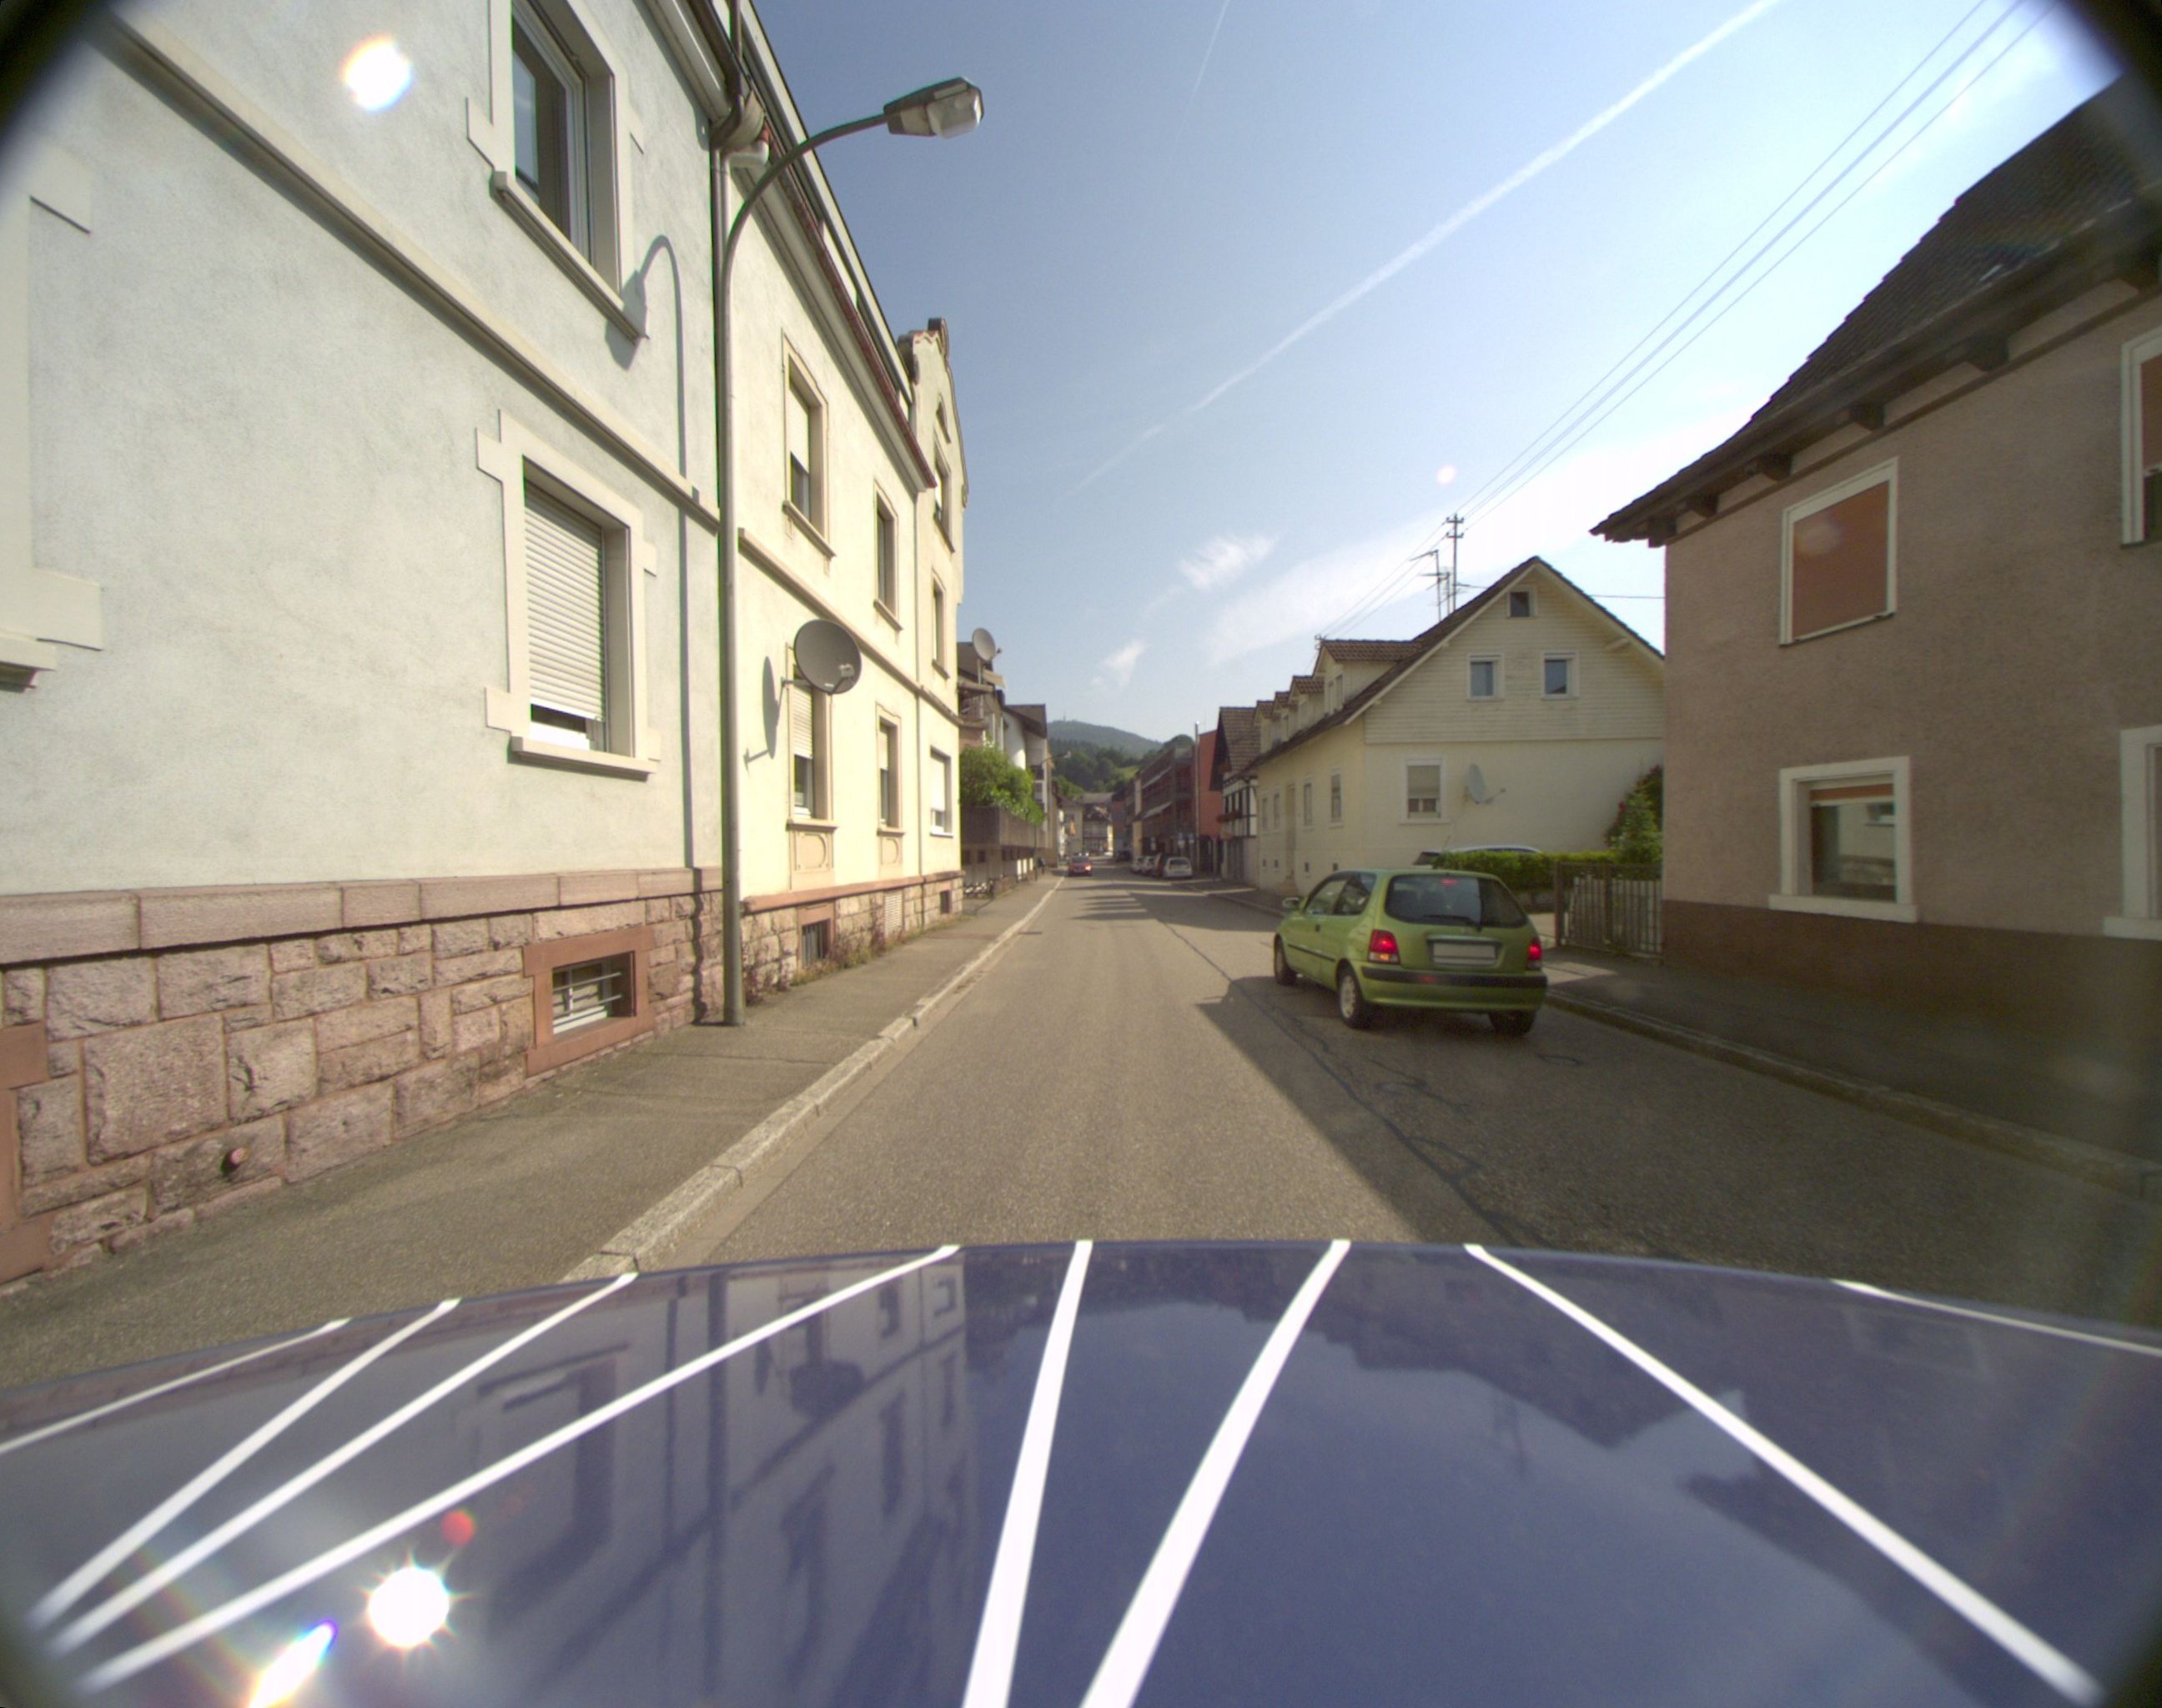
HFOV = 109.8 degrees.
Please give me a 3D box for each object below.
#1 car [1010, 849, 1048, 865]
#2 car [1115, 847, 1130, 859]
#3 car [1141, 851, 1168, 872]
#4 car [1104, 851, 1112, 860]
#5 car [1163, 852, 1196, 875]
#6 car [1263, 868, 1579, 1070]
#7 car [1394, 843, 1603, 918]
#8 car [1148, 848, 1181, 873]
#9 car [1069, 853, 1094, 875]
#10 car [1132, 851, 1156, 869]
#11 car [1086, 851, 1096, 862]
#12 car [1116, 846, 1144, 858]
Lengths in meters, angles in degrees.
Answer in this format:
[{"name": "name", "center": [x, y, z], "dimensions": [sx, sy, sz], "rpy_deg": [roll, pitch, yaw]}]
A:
[{"name": "car", "center": [-5.305, 0.340, 77.919], "dimensions": [3.837, 1.470, 1.700], "rpy_deg": [-2, 0, -2]}, {"name": "car", "center": [6.026, -0.171, 109.618], "dimensions": [1.787, 1.566, 3.888], "rpy_deg": [-4, 1, -1]}, {"name": "car", "center": [5.873, 0.582, 61.303], "dimensions": [1.679, 1.580, 3.948], "rpy_deg": [-1, 0, -2]}, {"name": "car", "center": [6.227, 0.317, 176.785], "dimensions": [1.742, 2.002, 3.840], "rpy_deg": [-1, 0, 2]}, {"name": "car", "center": [6.477, 0.636, 50.239], "dimensions": [1.670, 1.423, 3.569], "rpy_deg": [-2, 0, 1]}, {"name": "car", "center": [3.136, 0.945, 7.875], "dimensions": [1.600, 1.456, 3.659], "rpy_deg": [3, 0, 1]}, {"name": "car", "center": [10.008, 0.597, 18.419], "dimensions": [3.998, 1.584, 1.907], "rpy_deg": [-2, 0, -2]}, {"name": "car", "center": [6.072, 0.440, 55.708], "dimensions": [1.725, 1.786, 4.268], "rpy_deg": [-1, 0, -2]}, {"name": "car", "center": [0.036, 0.756, 58.865], "dimensions": [1.822, 1.652, 3.999], "rpy_deg": [-1, 1, -2]}, {"name": "car", "center": [5.587, 0.505, 67.873], "dimensions": [1.678, 1.546, 3.764], "rpy_deg": [-2, 0, -2]}, {"name": "car", "center": [1.905, 0.427, 146.057], "dimensions": [1.998, 2.002, 3.999], "rpy_deg": [-2, 1, 0]}, {"name": "car", "center": [7.580, -0.295, 118.037], "dimensions": [4.000, 1.674, 1.834], "rpy_deg": [-1, -1, -9]}]
